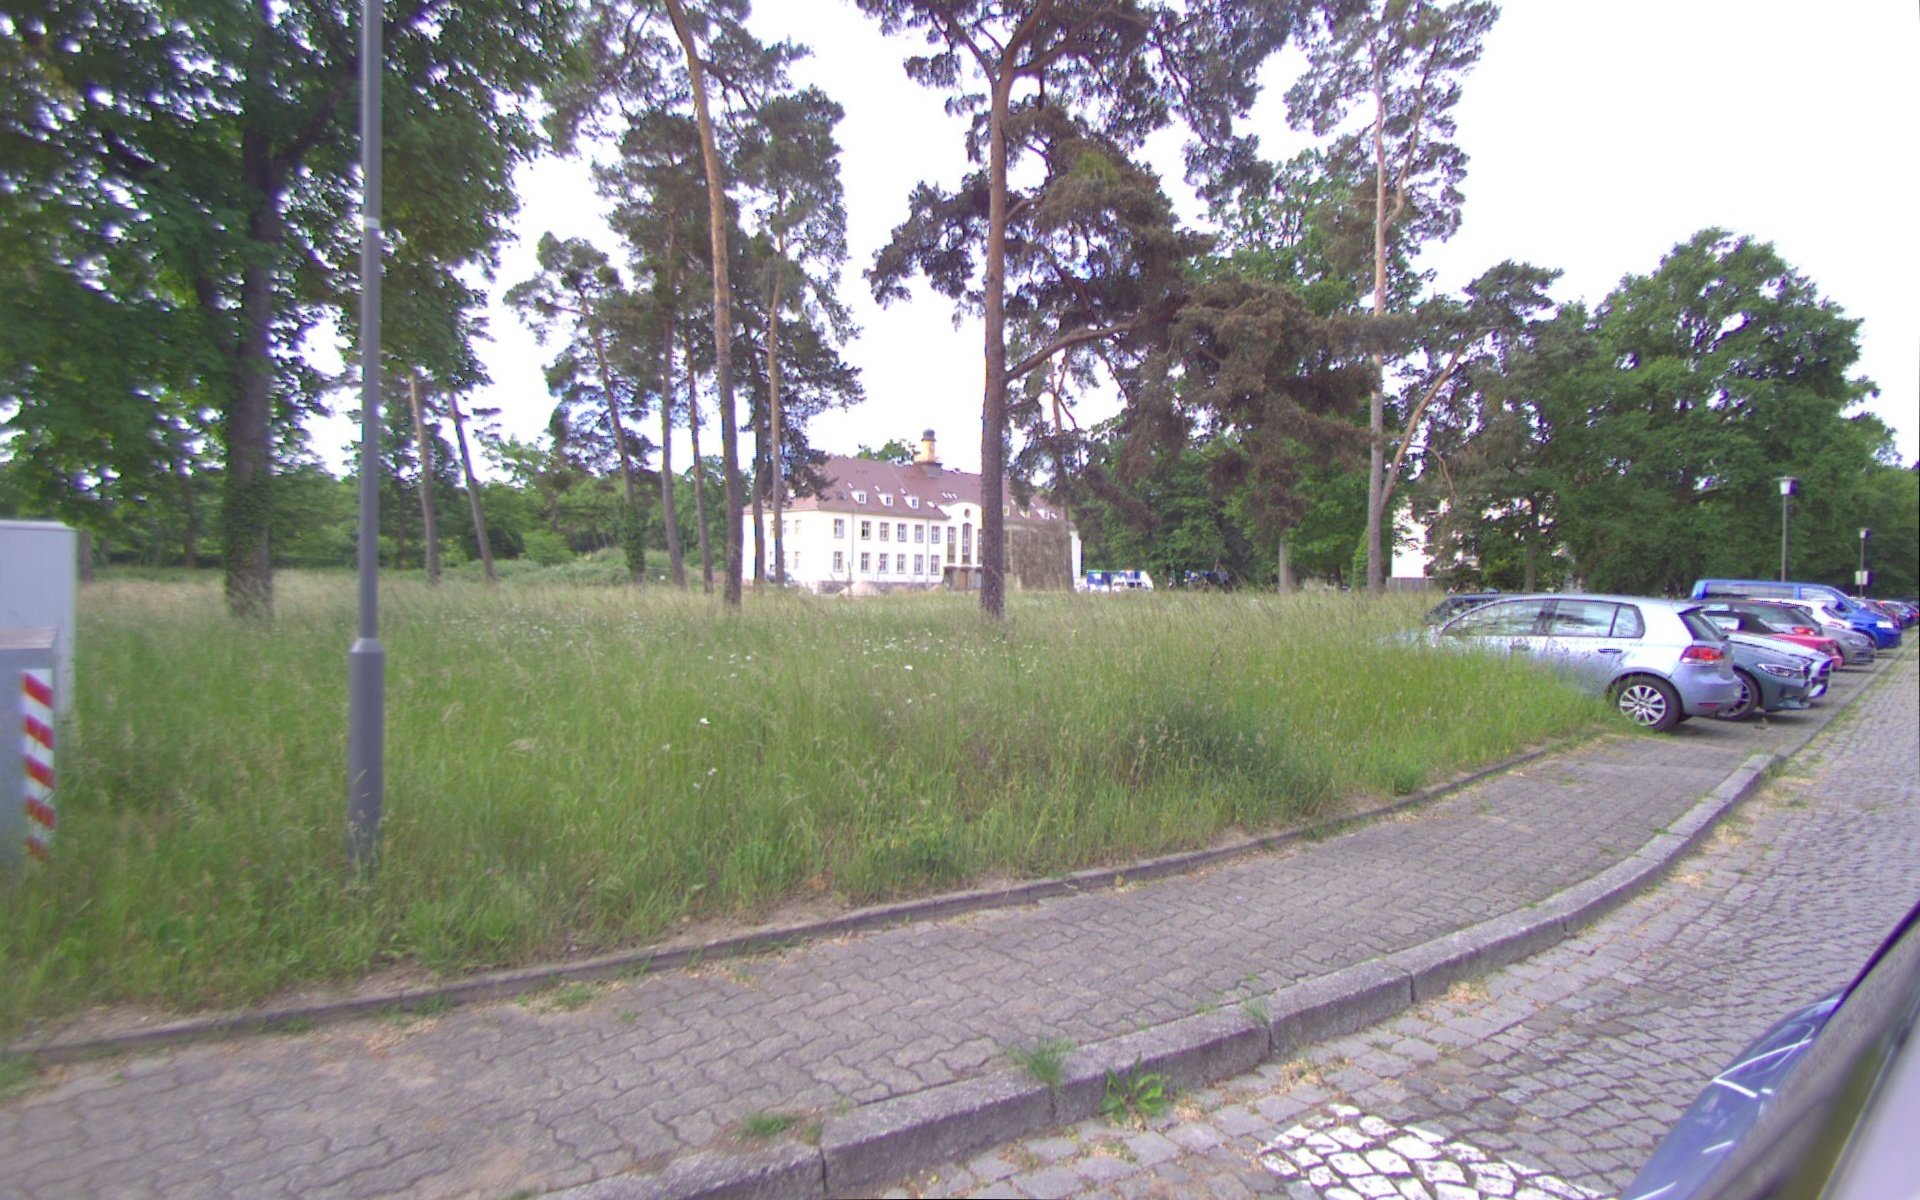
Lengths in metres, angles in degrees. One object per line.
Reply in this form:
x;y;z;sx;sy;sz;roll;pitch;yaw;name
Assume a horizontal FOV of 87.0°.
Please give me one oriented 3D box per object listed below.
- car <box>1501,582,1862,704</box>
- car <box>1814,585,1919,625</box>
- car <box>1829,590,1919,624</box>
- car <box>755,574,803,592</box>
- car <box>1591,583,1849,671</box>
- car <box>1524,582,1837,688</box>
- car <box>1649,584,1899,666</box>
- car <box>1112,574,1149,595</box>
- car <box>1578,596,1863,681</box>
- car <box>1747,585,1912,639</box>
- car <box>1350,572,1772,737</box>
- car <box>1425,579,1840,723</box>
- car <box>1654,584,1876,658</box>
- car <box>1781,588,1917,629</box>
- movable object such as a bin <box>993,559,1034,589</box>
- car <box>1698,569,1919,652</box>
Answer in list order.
10.947;0.548;15.619;1.687;1.491;4.245;0;2;-41;car
44.334;0.219;49.101;1.694;1.715;4.087;0;2;-37;car
47.744;0.354;52.206;1.694;1.552;4.097;0;2;-37;car
-20.164;-1.909;112.378;5.773;1.985;2.162;1;1;42;car
15.702;0.477;21.083;1.572;1.535;4.048;0;2;-41;car
12.401;0.510;17.627;1.688;1.500;4.179;0;2;-43;car
18.070;0.479;22.624;1.670;1.535;4.095;0;2;-41;car
19.225;-1.756;113.827;4.374;2.394;1.859;-1;1;-44;car
14.106;0.639;18.953;1.523;1.255;4.046;0;2;-43;car
29.846;0.374;34.844;1.625;1.612;4.082;0;2;-41;car
7.007;0.498;12.096;1.671;1.446;4.004;0;4;-45;car
8.957;0.552;13.795;1.637;1.400;4.432;0;4;-45;car
19.780;0.452;24.998;1.572;1.535;4.048;0;2;-41;car
36.933;0.332;42.115;1.697;1.462;4.080;0;2;-42;car
6.832;-3.323;130.028;2.017;3.817;5.456;-1;1;-40;movable object such as a bin
23.815;0.211;28.485;1.879;2.030;4.599;-1;3;-42;car
